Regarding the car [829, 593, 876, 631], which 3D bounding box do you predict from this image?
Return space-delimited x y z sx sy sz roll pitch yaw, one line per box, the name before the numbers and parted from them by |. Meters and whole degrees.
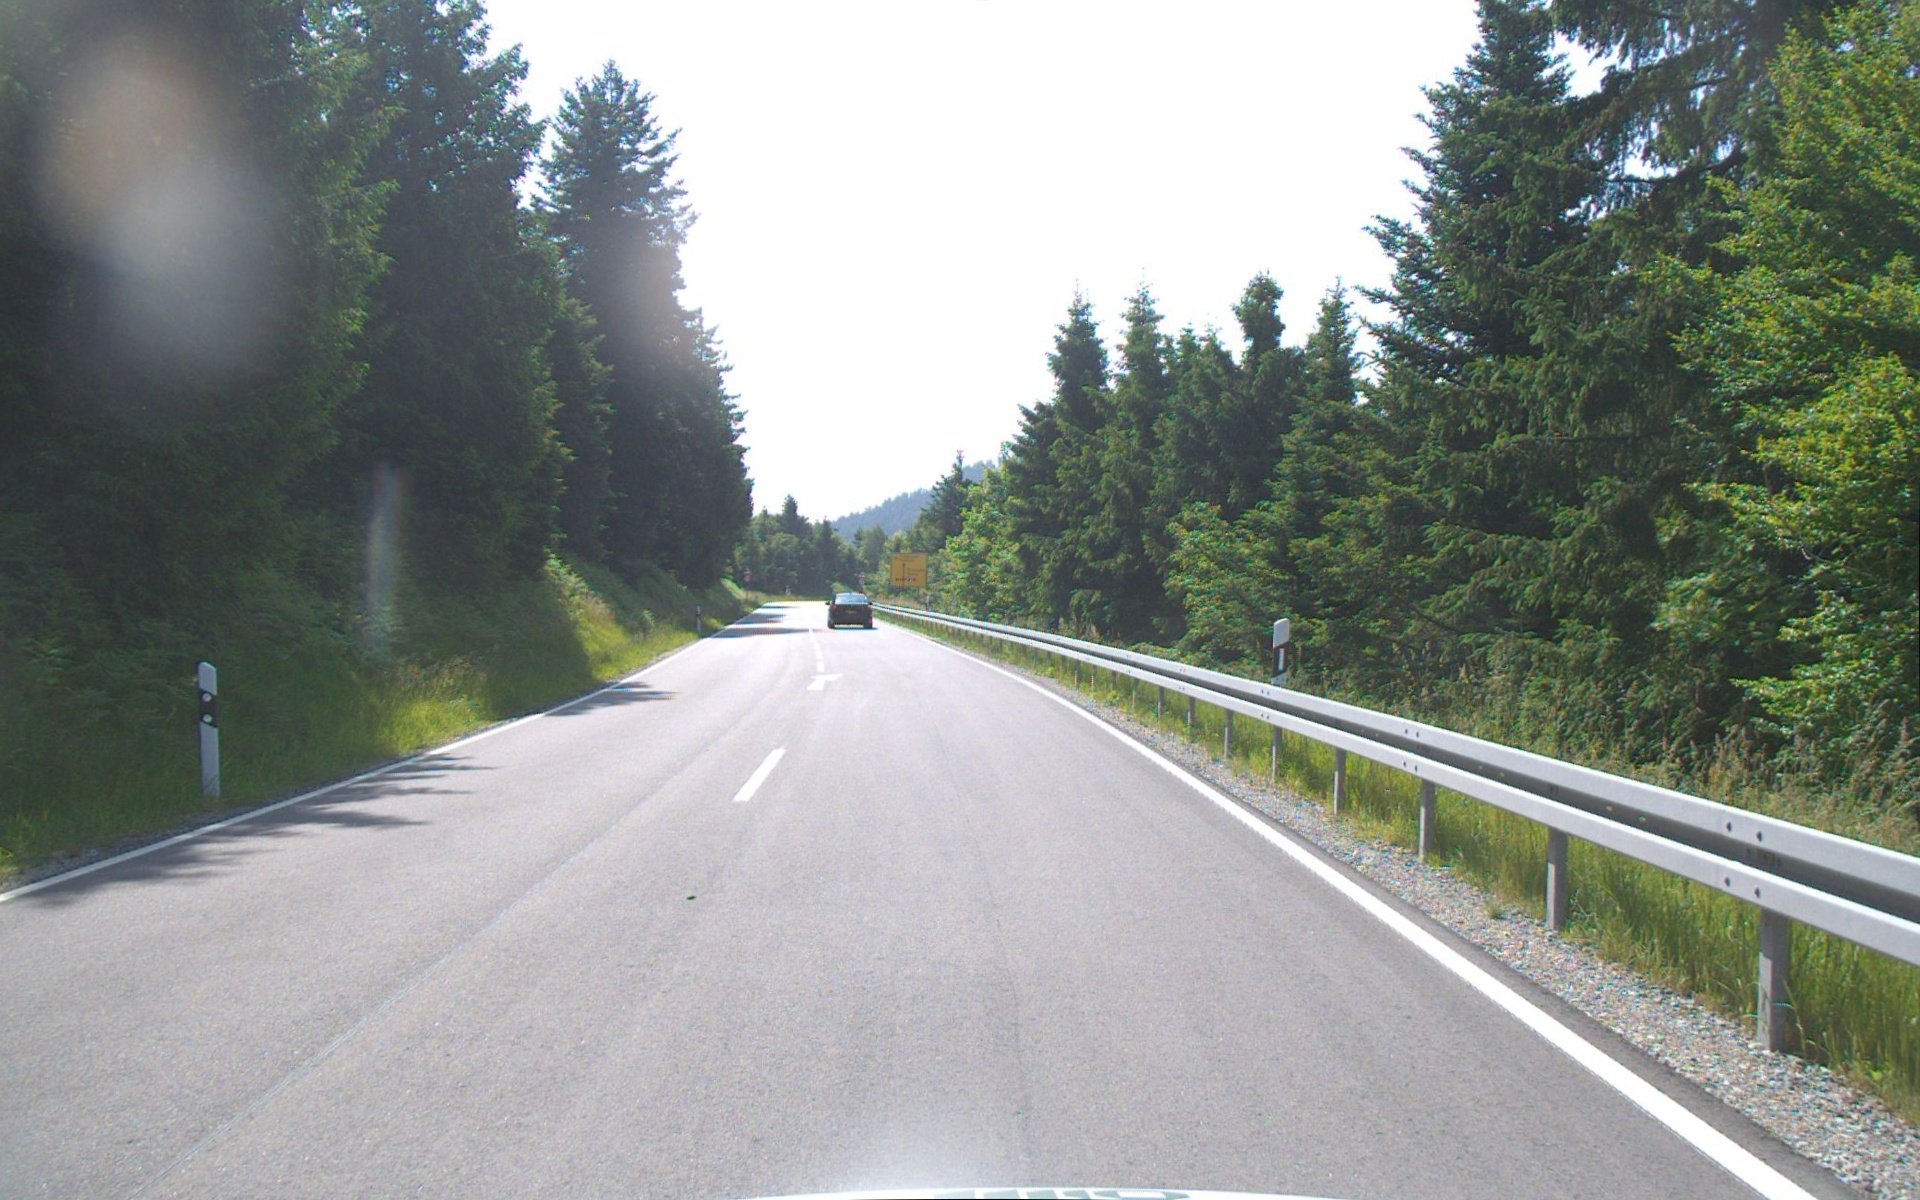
car | -4.442 0.481 68.062 1.742 1.467 3.703 1 0 -7
